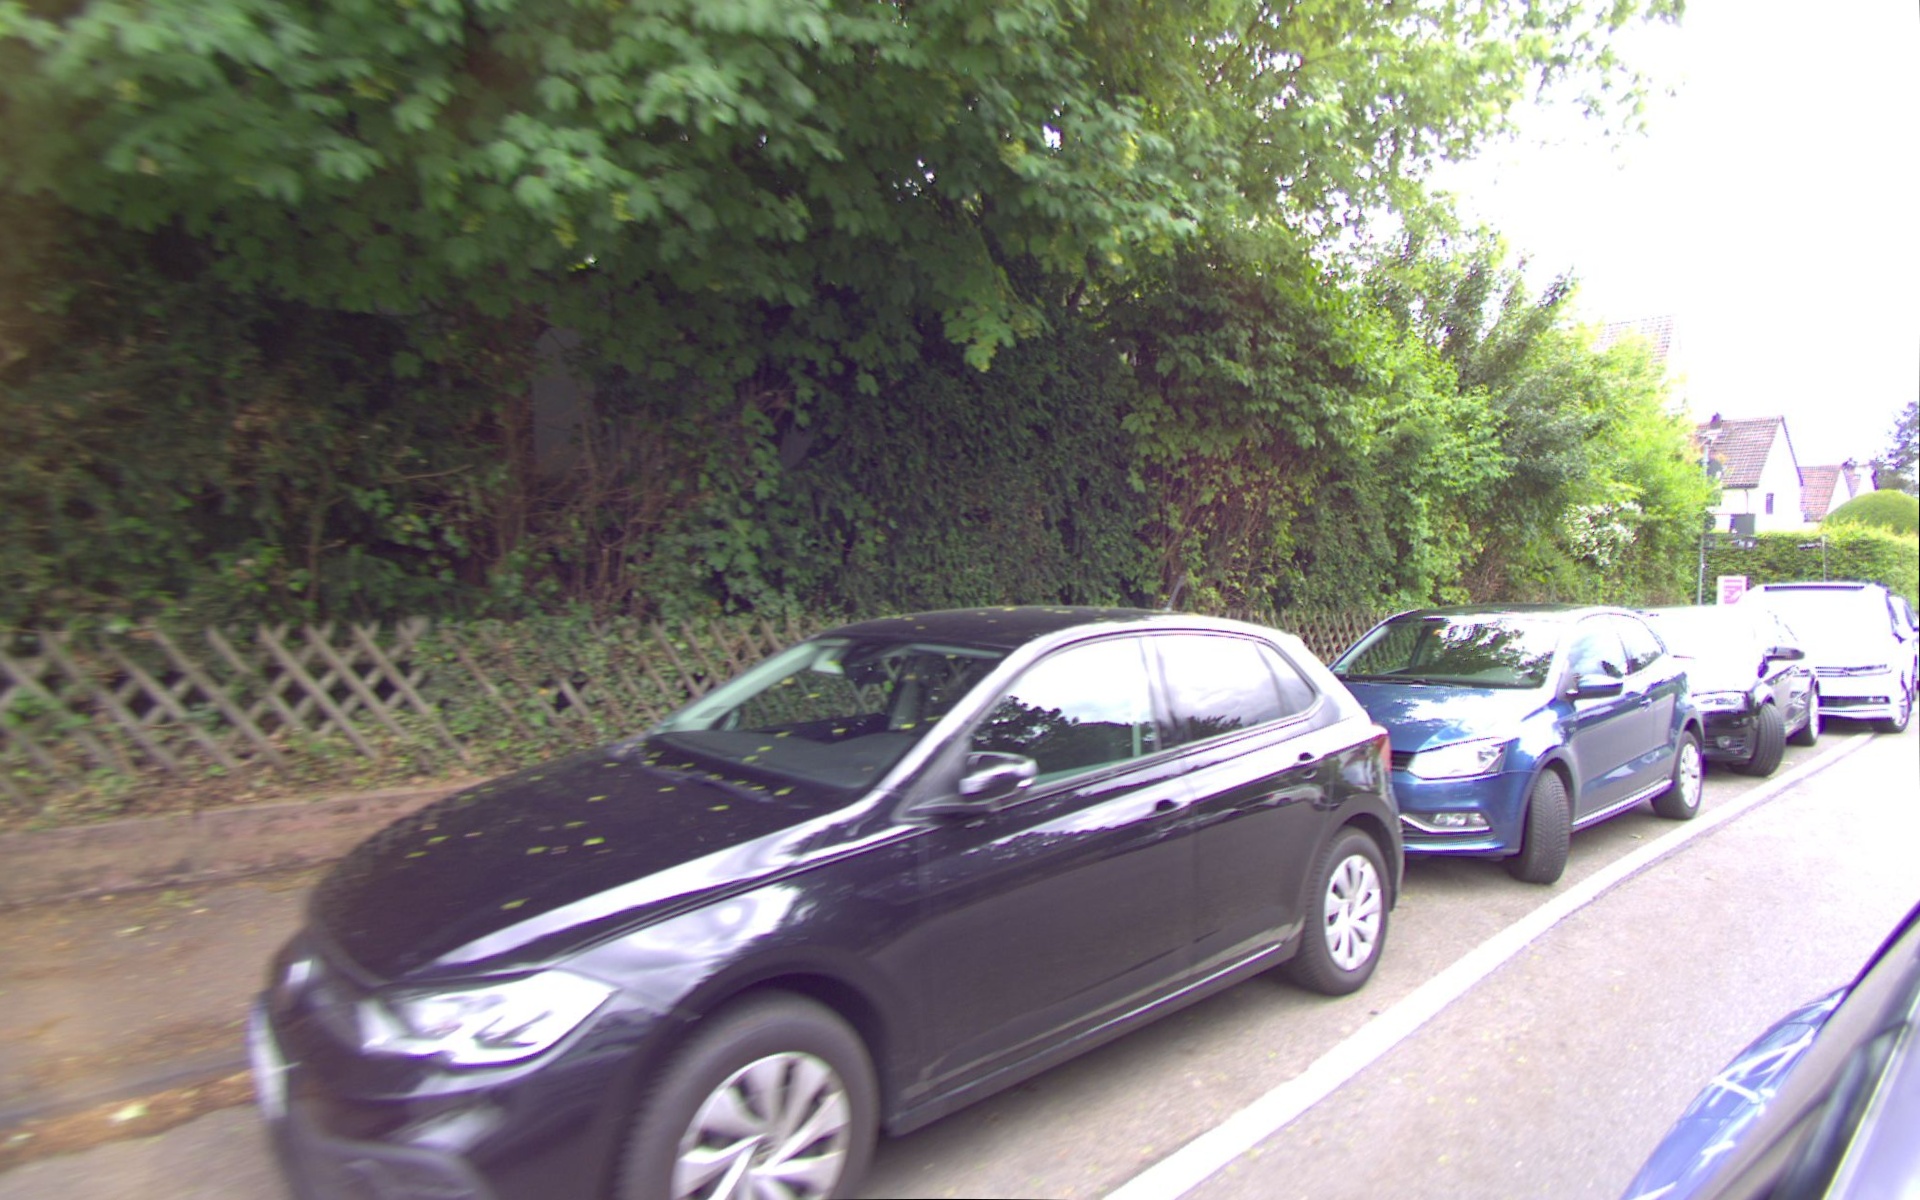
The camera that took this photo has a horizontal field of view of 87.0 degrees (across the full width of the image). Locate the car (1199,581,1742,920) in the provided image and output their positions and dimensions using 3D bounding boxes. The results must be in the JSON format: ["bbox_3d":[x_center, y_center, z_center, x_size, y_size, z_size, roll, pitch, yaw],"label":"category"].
[{"bbox_3d":[3.486,0.666,6.551,4.087,1.527,1.701,0,0,-41],"label":"car"}]

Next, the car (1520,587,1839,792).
[{"bbox_3d":[7.121,0.649,9.822,1.811,1.470,4.308,3,3,45],"label":"car"}]

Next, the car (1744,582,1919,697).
[{"bbox_3d":[14.198,0.529,16.084,4.379,1.510,1.941,0,3,-42],"label":"car"}]

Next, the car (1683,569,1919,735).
[{"bbox_3d":[10.732,0.491,12.657,2.002,1.628,4.682,4,3,45],"label":"car"}]
